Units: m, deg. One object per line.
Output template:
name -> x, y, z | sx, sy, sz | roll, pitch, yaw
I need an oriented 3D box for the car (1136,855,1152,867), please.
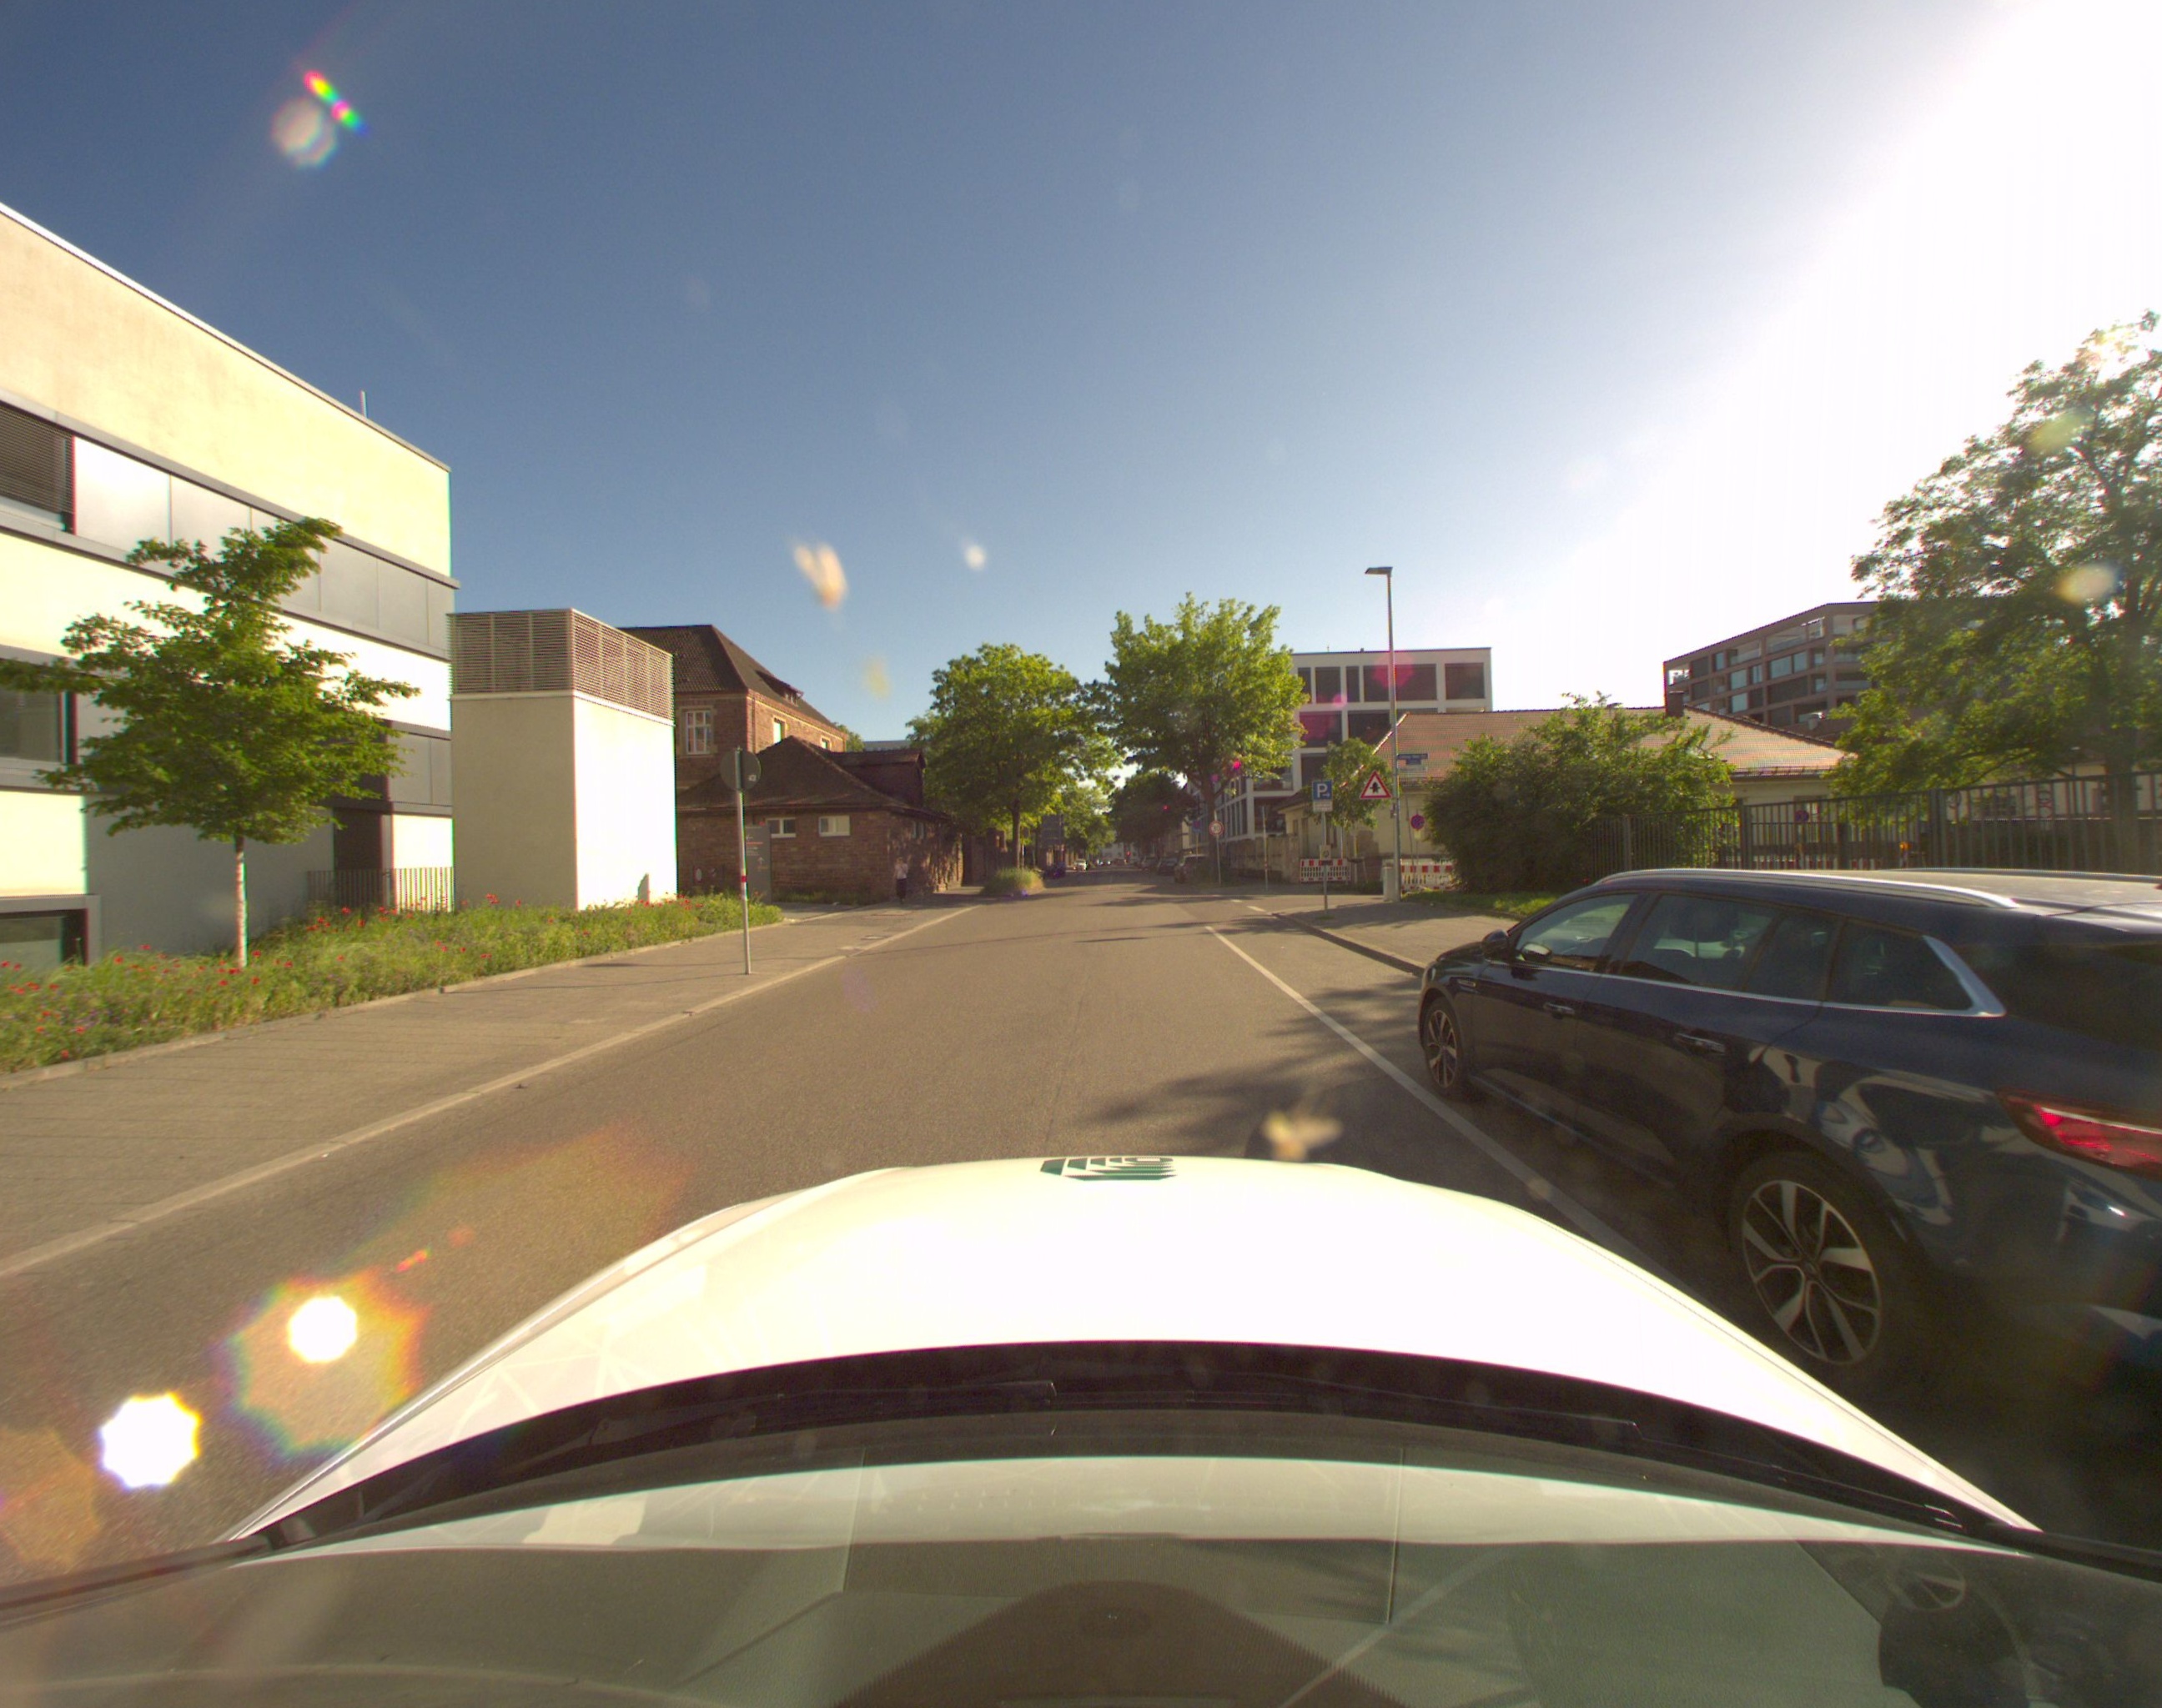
car -> 8.341, 0.942, 108.665 | 1.985, 1.465, 3.839 | -1, 0, 3

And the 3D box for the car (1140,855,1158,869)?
car -> 7.780, 0.930, 93.046 | 1.942, 1.578, 3.839 | -1, 0, 3

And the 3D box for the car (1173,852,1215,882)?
car -> 5.919, 0.641, 43.137 | 1.696, 1.468, 4.791 | -1, 0, 2

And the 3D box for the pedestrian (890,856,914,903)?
pedestrian -> -6.174, 0.857, 28.128 | 0.519, 1.562, 1.096 | -1, 0, 2

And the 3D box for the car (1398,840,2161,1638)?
car -> 3.010, 0.709, 3.496 | 1.810, 1.453, 4.217 | -2, 0, 3

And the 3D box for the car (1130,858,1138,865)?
car -> 11.384, 1.609, 174.344 | 1.579, 1.400, 3.839 | -1, 0, 3

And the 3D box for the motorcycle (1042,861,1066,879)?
motorcycle -> -2.030, 1.221, 61.343 | 0.570, 1.276, 2.135 | -2, 0, 35

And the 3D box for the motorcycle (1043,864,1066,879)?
motorcycle -> -2.068, 1.331, 62.777 | 0.570, 1.074, 2.135 | -2, 0, 35

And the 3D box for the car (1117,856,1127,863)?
car -> 8.000, 1.053, 157.381 | 1.881, 1.400, 3.839 | -1, 0, 3

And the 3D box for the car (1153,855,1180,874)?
car -> 6.762, 0.834, 64.485 | 1.761, 1.440, 4.001 | -2, 0, 1

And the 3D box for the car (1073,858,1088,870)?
car -> -0.082, 1.329, 105.836 | 1.761, 1.487, 4.001 | -2, 0, 1

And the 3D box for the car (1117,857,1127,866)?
car -> 7.887, 1.407, 157.318 | 1.761, 1.548, 4.067 | -2, 0, 1

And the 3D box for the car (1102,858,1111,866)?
car -> 4.979, 1.591, 156.230 | 1.647, 1.530, 4.002 | -1, 0, 2
